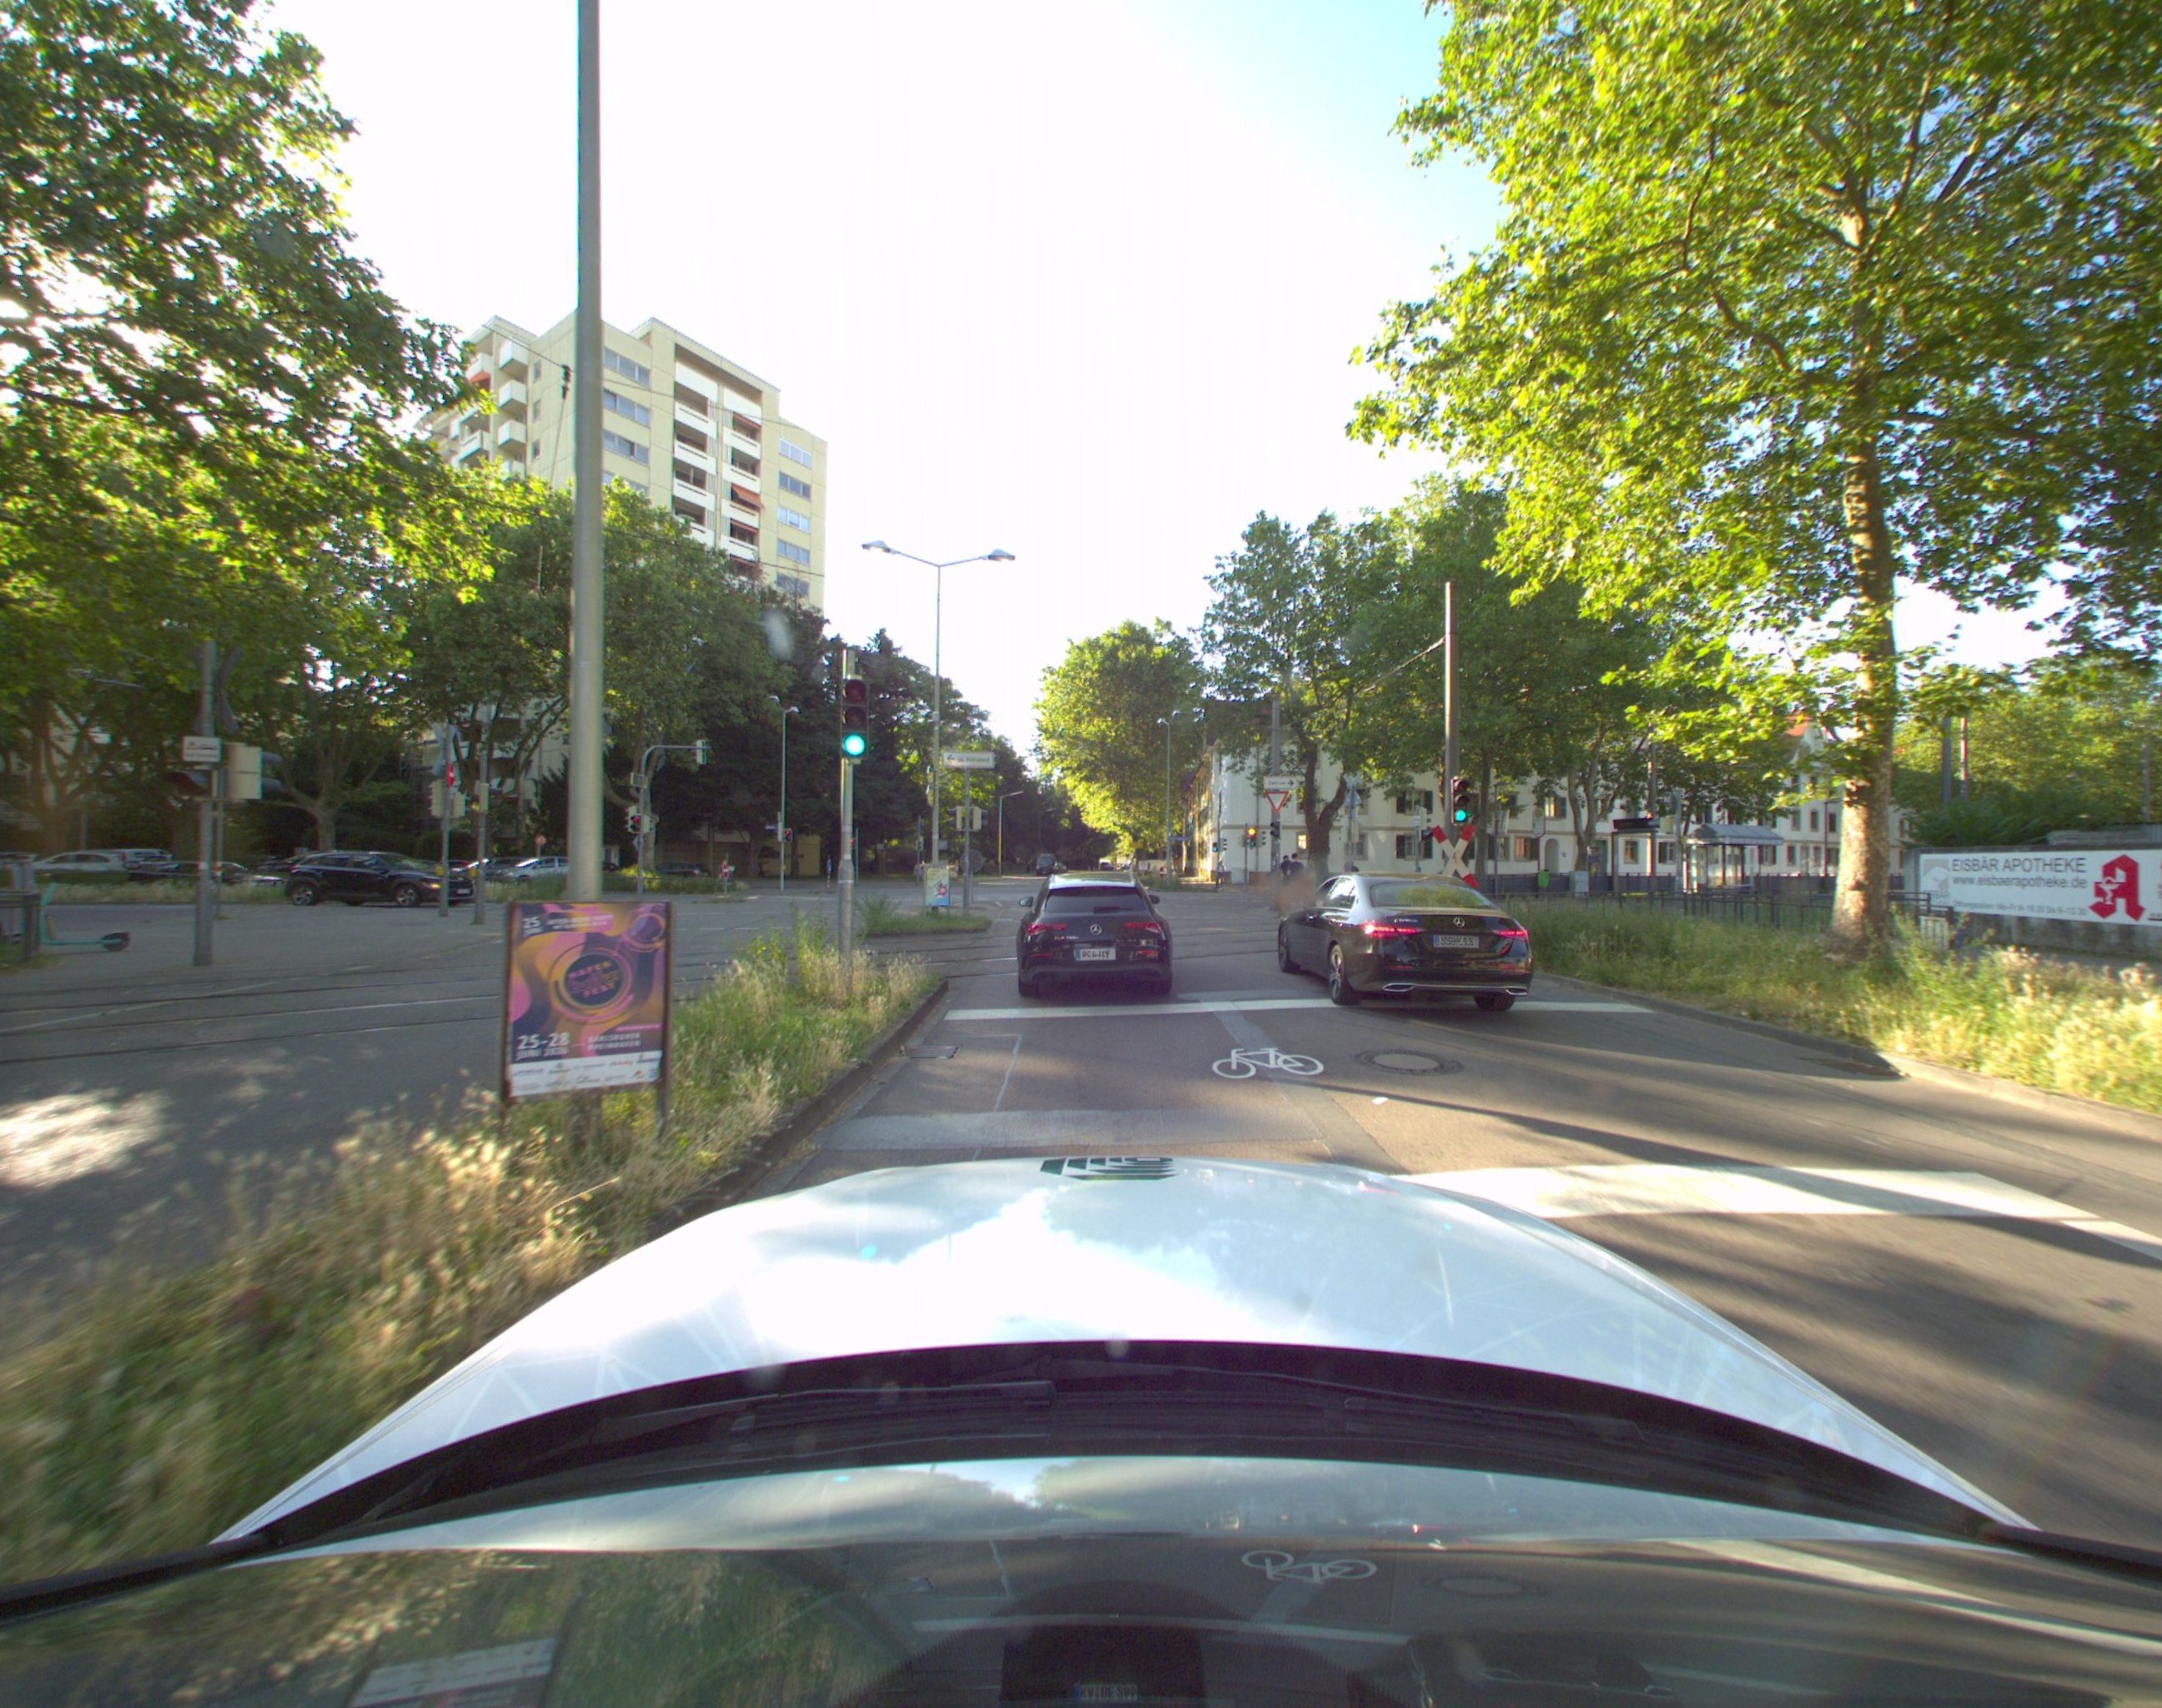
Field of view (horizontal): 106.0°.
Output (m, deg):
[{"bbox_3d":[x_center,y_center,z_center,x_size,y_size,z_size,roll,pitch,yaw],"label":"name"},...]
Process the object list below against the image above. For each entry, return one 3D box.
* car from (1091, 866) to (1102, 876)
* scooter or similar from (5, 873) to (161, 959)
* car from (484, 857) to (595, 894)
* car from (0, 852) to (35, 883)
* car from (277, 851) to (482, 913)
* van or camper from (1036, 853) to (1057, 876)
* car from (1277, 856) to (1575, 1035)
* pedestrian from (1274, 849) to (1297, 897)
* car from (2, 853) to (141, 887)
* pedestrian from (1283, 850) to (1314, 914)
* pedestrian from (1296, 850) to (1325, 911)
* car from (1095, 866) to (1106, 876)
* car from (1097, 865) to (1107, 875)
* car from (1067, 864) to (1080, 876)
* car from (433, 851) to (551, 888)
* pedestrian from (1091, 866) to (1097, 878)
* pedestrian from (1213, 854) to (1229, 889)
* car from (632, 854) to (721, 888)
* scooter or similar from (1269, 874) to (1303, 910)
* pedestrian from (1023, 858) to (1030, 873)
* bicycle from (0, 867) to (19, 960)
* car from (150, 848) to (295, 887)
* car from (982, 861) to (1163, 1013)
[{"bbox_3d":[2.656,2.952,140.693,1.727,1.765,4.020,1,-1,2],"label":"car"},{"bbox_3d":[-15.134,0.917,12.401,0.408,1.239,1.450,0,-2,41],"label":"scooter or similar"},{"bbox_3d":[-24.841,0.994,37.495,1.716,1.596,3.831,0,-2,32],"label":"car"},{"bbox_3d":[-56.998,0.680,41.709,1.716,1.596,4.025,0,-2,32],"label":"car"},{"bbox_3d":[-19.445,0.771,22.723,3.980,1.596,1.735,1,-1,-5],"label":"car"},{"bbox_3d":[-4.042,1.236,95.421,1.986,2.541,4.653,1,-1,2],"label":"van or camper"},{"bbox_3d":[3.660,0.836,9.606,1.881,1.490,4.386,1,1,4],"label":"car"},{"bbox_3d":[8.346,0.761,33.270,0.703,1.918,0.838,1,-2,-4],"label":"pedestrian"},{"bbox_3d":[-49.069,0.789,39.665,1.716,1.596,4.025,0,-2,32],"label":"car"},{"bbox_3d":[6.652,0.855,24.949,0.704,1.918,0.683,1,-2,-7],"label":"pedestrian"},{"bbox_3d":[7.313,0.837,25.986,0.681,1.918,0.707,1,-2,-2],"label":"pedestrian"},{"bbox_3d":[3.505,3.018,145.854,1.727,1.765,4.020,1,-1,2],"label":"car"},{"bbox_3d":[3.977,3.059,153.933,1.727,1.765,4.020,1,-1,2],"label":"car"},{"bbox_3d":[-1.105,2.417,122.005,1.727,1.765,3.972,1,-1,2],"label":"car"},{"bbox_3d":[-27.131,0.742,37.646,1.716,1.596,4.025,0,-2,32],"label":"car"},{"bbox_3d":[2.029,2.779,125.521,0.704,1.918,0.837,1,-2,-8],"label":"pedestrian"},{"bbox_3d":[7.871,0.992,45.876,0.703,1.918,0.838,1,-2,-2],"label":"pedestrian"},{"bbox_3d":[-22.515,0.953,45.382,3.963,1.775,2.005,1,-1,9],"label":"car"},{"bbox_3d":[6.497,1.197,25.821,0.826,1.104,0.808,1,-1,-4],"label":"scooter or similar"},{"bbox_3d":[-6.834,1.455,102.525,0.701,1.918,0.841,1,-2,8],"label":"pedestrian"},{"bbox_3d":[-15.997,0.812,11.092,1.845,1.307,0.380,2,-2,-25],"label":"bicycle"},{"bbox_3d":[-37.336,0.609,35.535,1.716,1.596,4.025,0,-2,32],"label":"car"},{"bbox_3d":[0.029,0.886,10.596,1.881,1.450,4.004,1,1,3],"label":"car"}]
